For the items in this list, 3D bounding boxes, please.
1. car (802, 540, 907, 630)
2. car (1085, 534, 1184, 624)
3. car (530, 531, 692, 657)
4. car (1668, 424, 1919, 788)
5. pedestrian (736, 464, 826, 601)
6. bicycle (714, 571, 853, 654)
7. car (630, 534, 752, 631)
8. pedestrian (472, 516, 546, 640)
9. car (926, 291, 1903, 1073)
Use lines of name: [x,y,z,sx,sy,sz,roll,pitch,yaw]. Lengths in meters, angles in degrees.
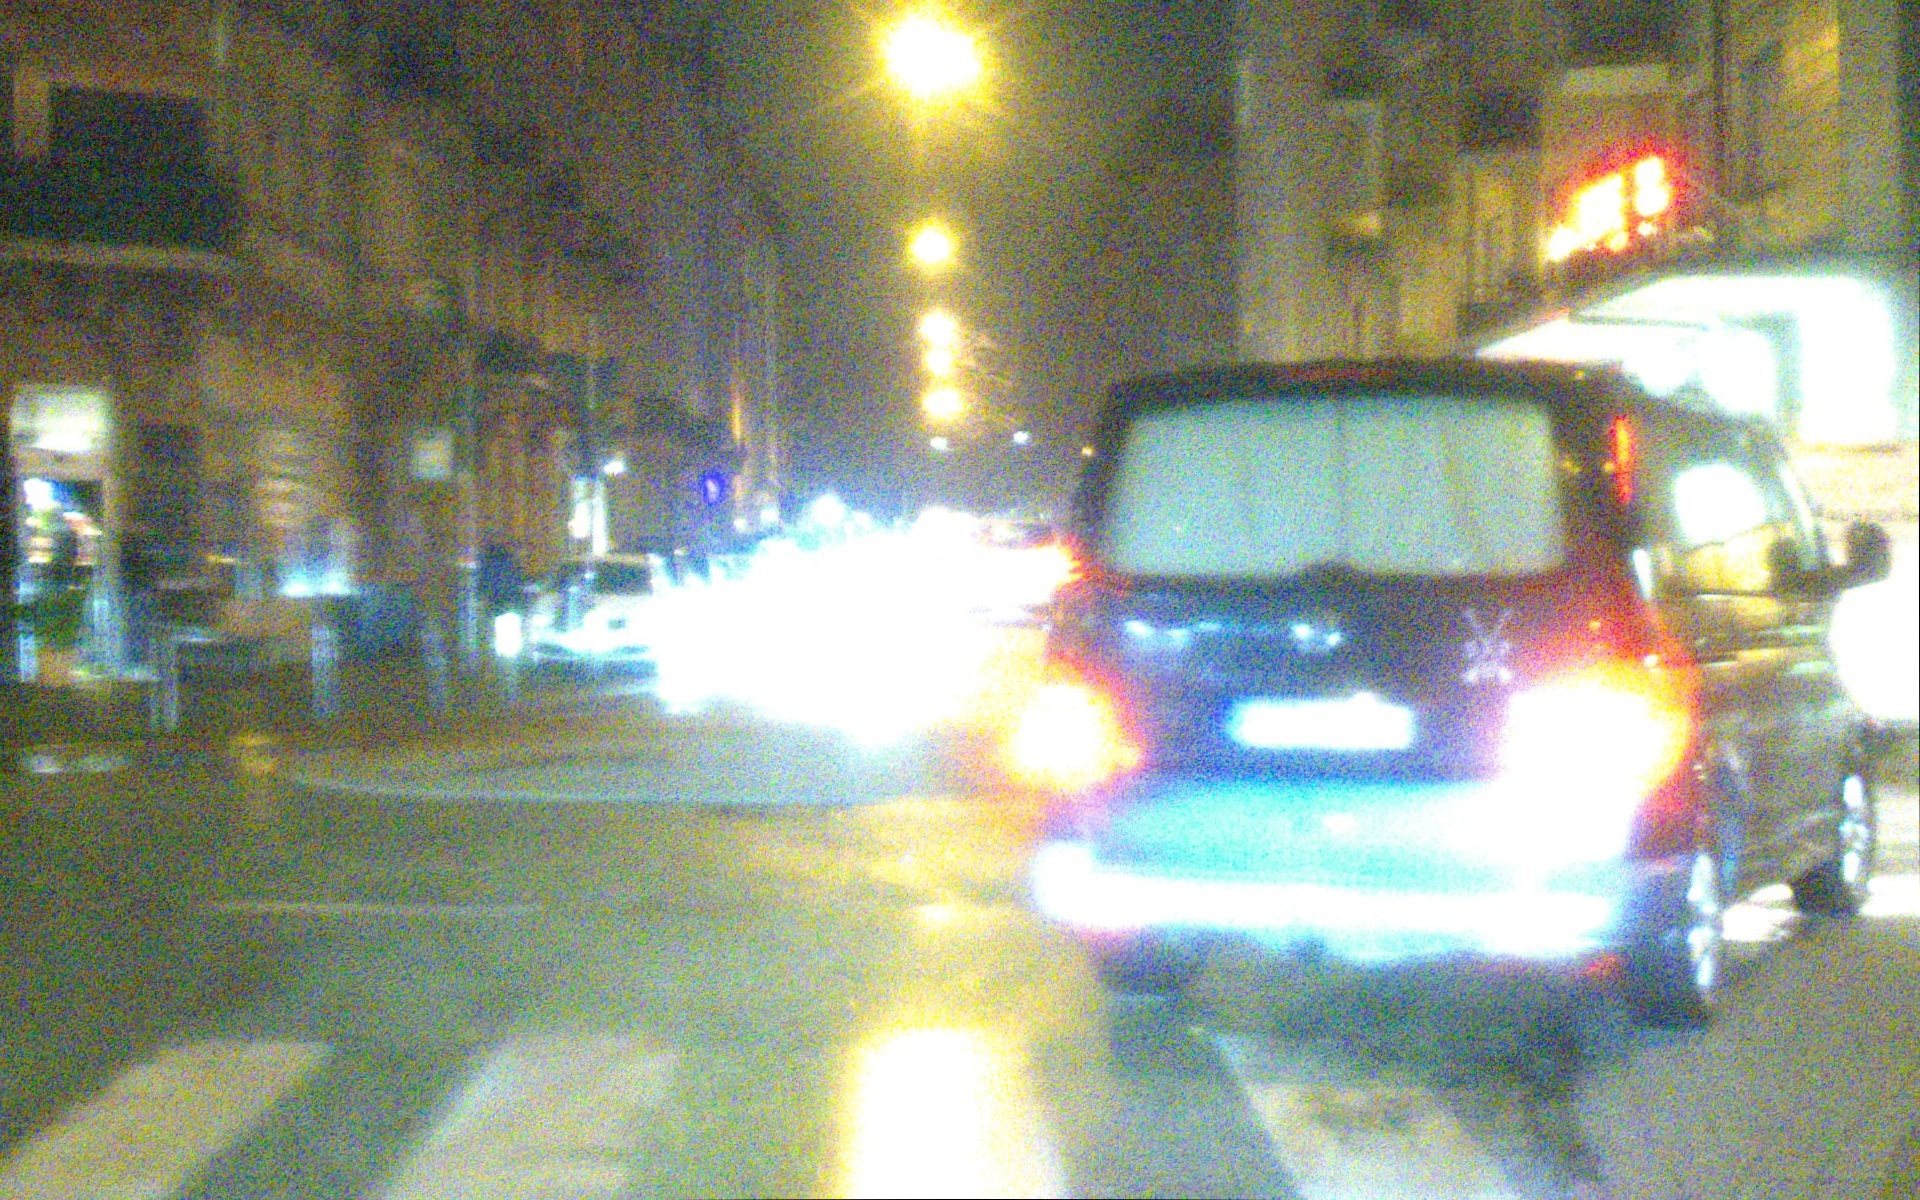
car: [-1.776,-0.285,58.729,1.563,1.422,4.069,-2,1,1]
car: [3.080,-0.358,61.136,1.592,1.538,3.420,1,0,0]
car: [-4.385,-0.116,43.641,1.586,1.458,4.024,2,1,0]
car: [5.329,-0.017,20.493,2.124,1.916,4.823,1,1,12]
pedestrian: [-2.389,-0.906,45.971,1.122,1.805,0.715,-1,1,1]
bicycle: [-2.358,0.161,45.990,1.796,1.055,0.715,-1,1,1]
car: [-4.105,-0.297,52.835,1.586,1.444,3.503,0,1,0]
pedestrian: [-6.493,-0.315,49.549,0.804,1.760,1.015,1,0,6]
car: [1.736,0.168,11.243,2.125,1.984,4.596,0,1,21]
